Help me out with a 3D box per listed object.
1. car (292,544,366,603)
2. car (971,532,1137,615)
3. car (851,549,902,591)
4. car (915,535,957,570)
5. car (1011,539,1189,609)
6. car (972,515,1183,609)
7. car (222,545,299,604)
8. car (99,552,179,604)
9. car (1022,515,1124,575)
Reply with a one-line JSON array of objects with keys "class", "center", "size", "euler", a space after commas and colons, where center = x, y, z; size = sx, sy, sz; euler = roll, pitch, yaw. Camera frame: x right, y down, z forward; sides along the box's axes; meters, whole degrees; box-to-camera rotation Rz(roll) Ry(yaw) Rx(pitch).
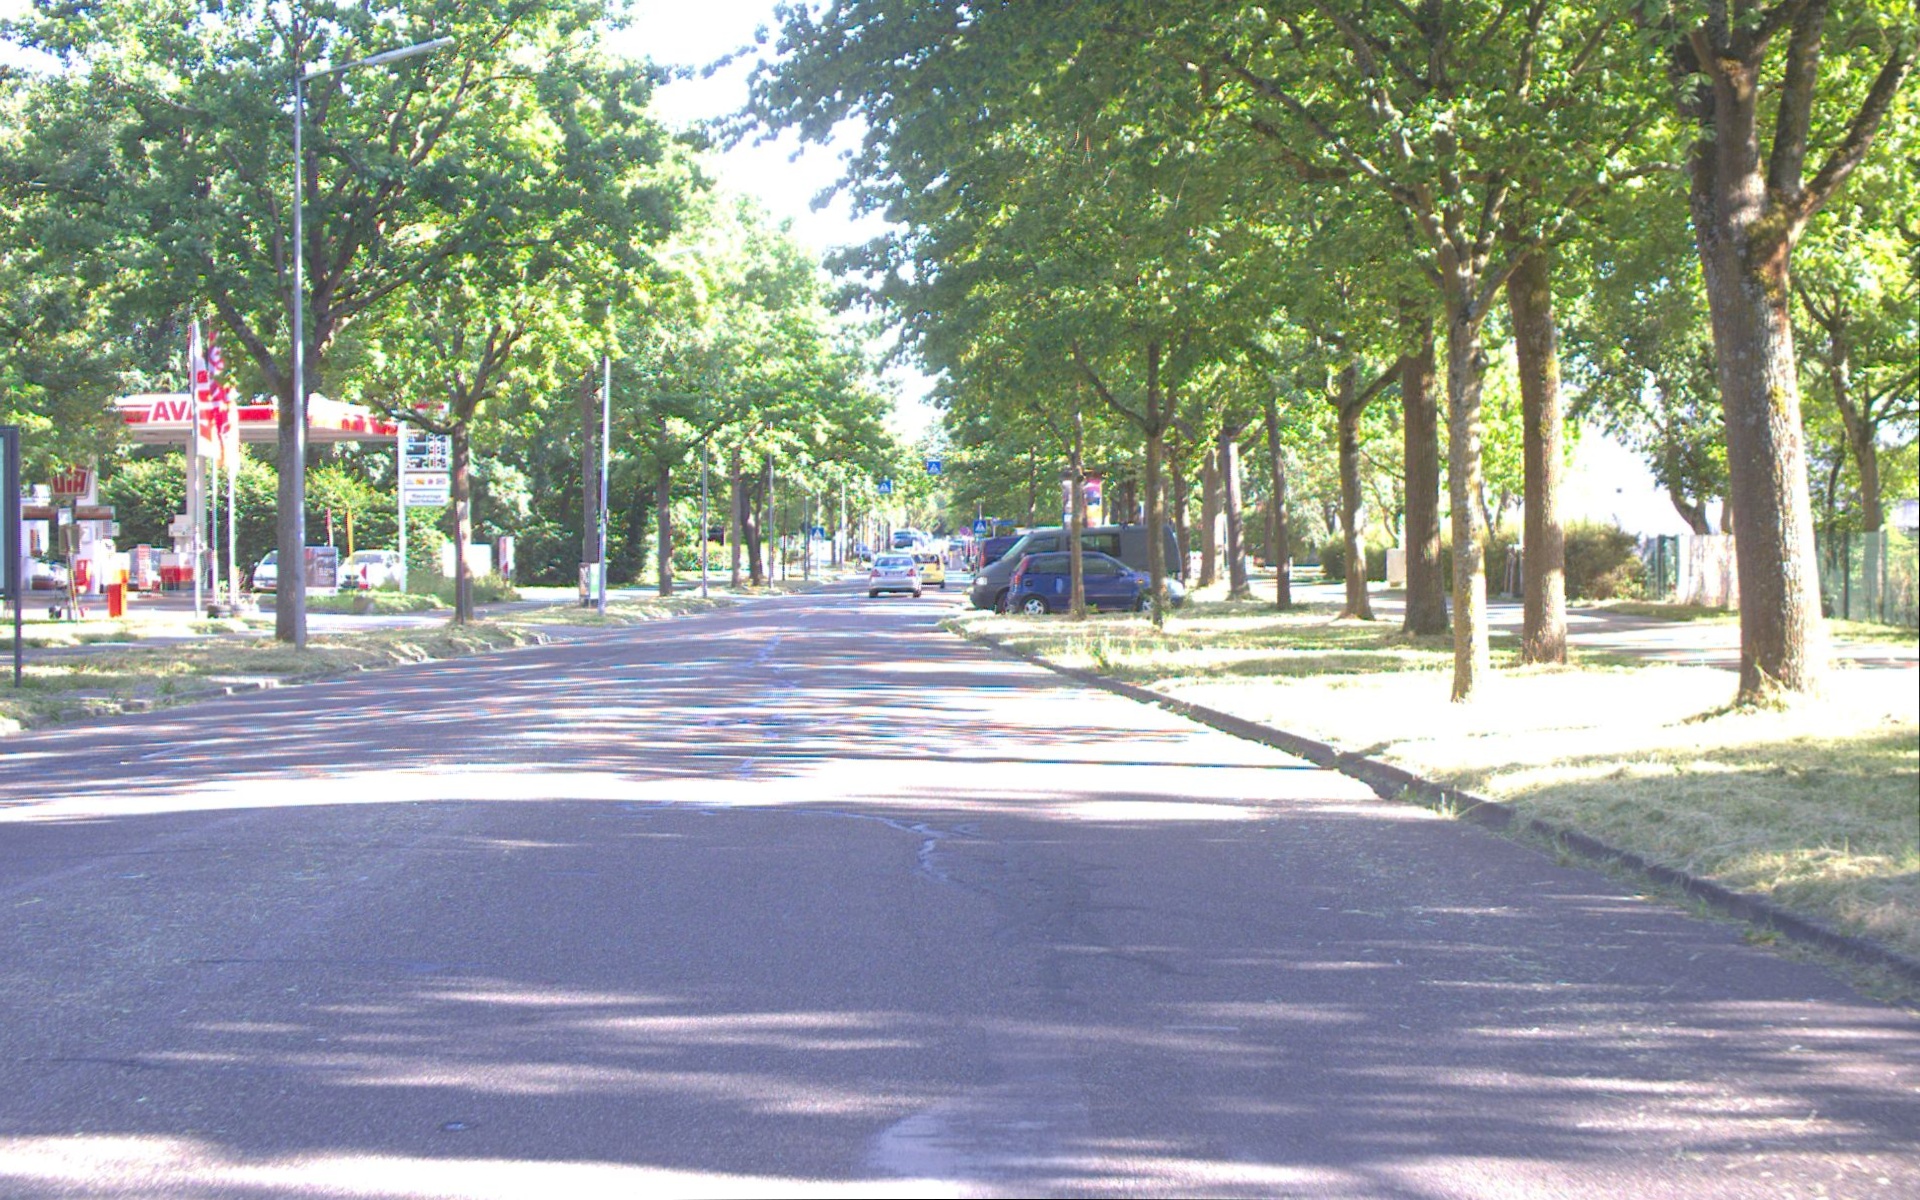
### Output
[{"class": "car", "center": [-20.209, -0.822, 110.248], "size": [1.801, 1.817, 3.805], "euler": [-1, 0, -2]}, {"class": "car", "center": [2.106, -0.587, 77.458], "size": [3.653, 1.791, 1.317], "euler": [-1, 0, -1]}, {"class": "car", "center": [-2.808, -1.002, 115.389], "size": [1.661, 1.332, 3.665], "euler": [-1, 0, -1]}, {"class": "car", "center": [-0.976, -1.897, 138.509], "size": [1.661, 1.332, 3.665], "euler": [-1, 0, -1]}, {"class": "car", "center": [2.914, -0.548, 71.992], "size": [3.653, 1.393, 1.317], "euler": [-1, 0, -1]}, {"class": "car", "center": [2.543, -0.812, 74.970], "size": [4.502, 1.946, 1.687], "euler": [-1, 0, -1]}, {"class": "car", "center": [-22.377, -0.789, 110.111], "size": [1.801, 1.817, 3.805], "euler": [-1, 0, -2]}, {"class": "car", "center": [-26.868, -0.704, 112.590], "size": [1.801, 1.615, 3.805], "euler": [-1, 0, -2]}, {"class": "car", "center": [4.065, -1.974, 123.683], "size": [3.567, 2.044, 1.633], "euler": [-1, -1, -1]}]
